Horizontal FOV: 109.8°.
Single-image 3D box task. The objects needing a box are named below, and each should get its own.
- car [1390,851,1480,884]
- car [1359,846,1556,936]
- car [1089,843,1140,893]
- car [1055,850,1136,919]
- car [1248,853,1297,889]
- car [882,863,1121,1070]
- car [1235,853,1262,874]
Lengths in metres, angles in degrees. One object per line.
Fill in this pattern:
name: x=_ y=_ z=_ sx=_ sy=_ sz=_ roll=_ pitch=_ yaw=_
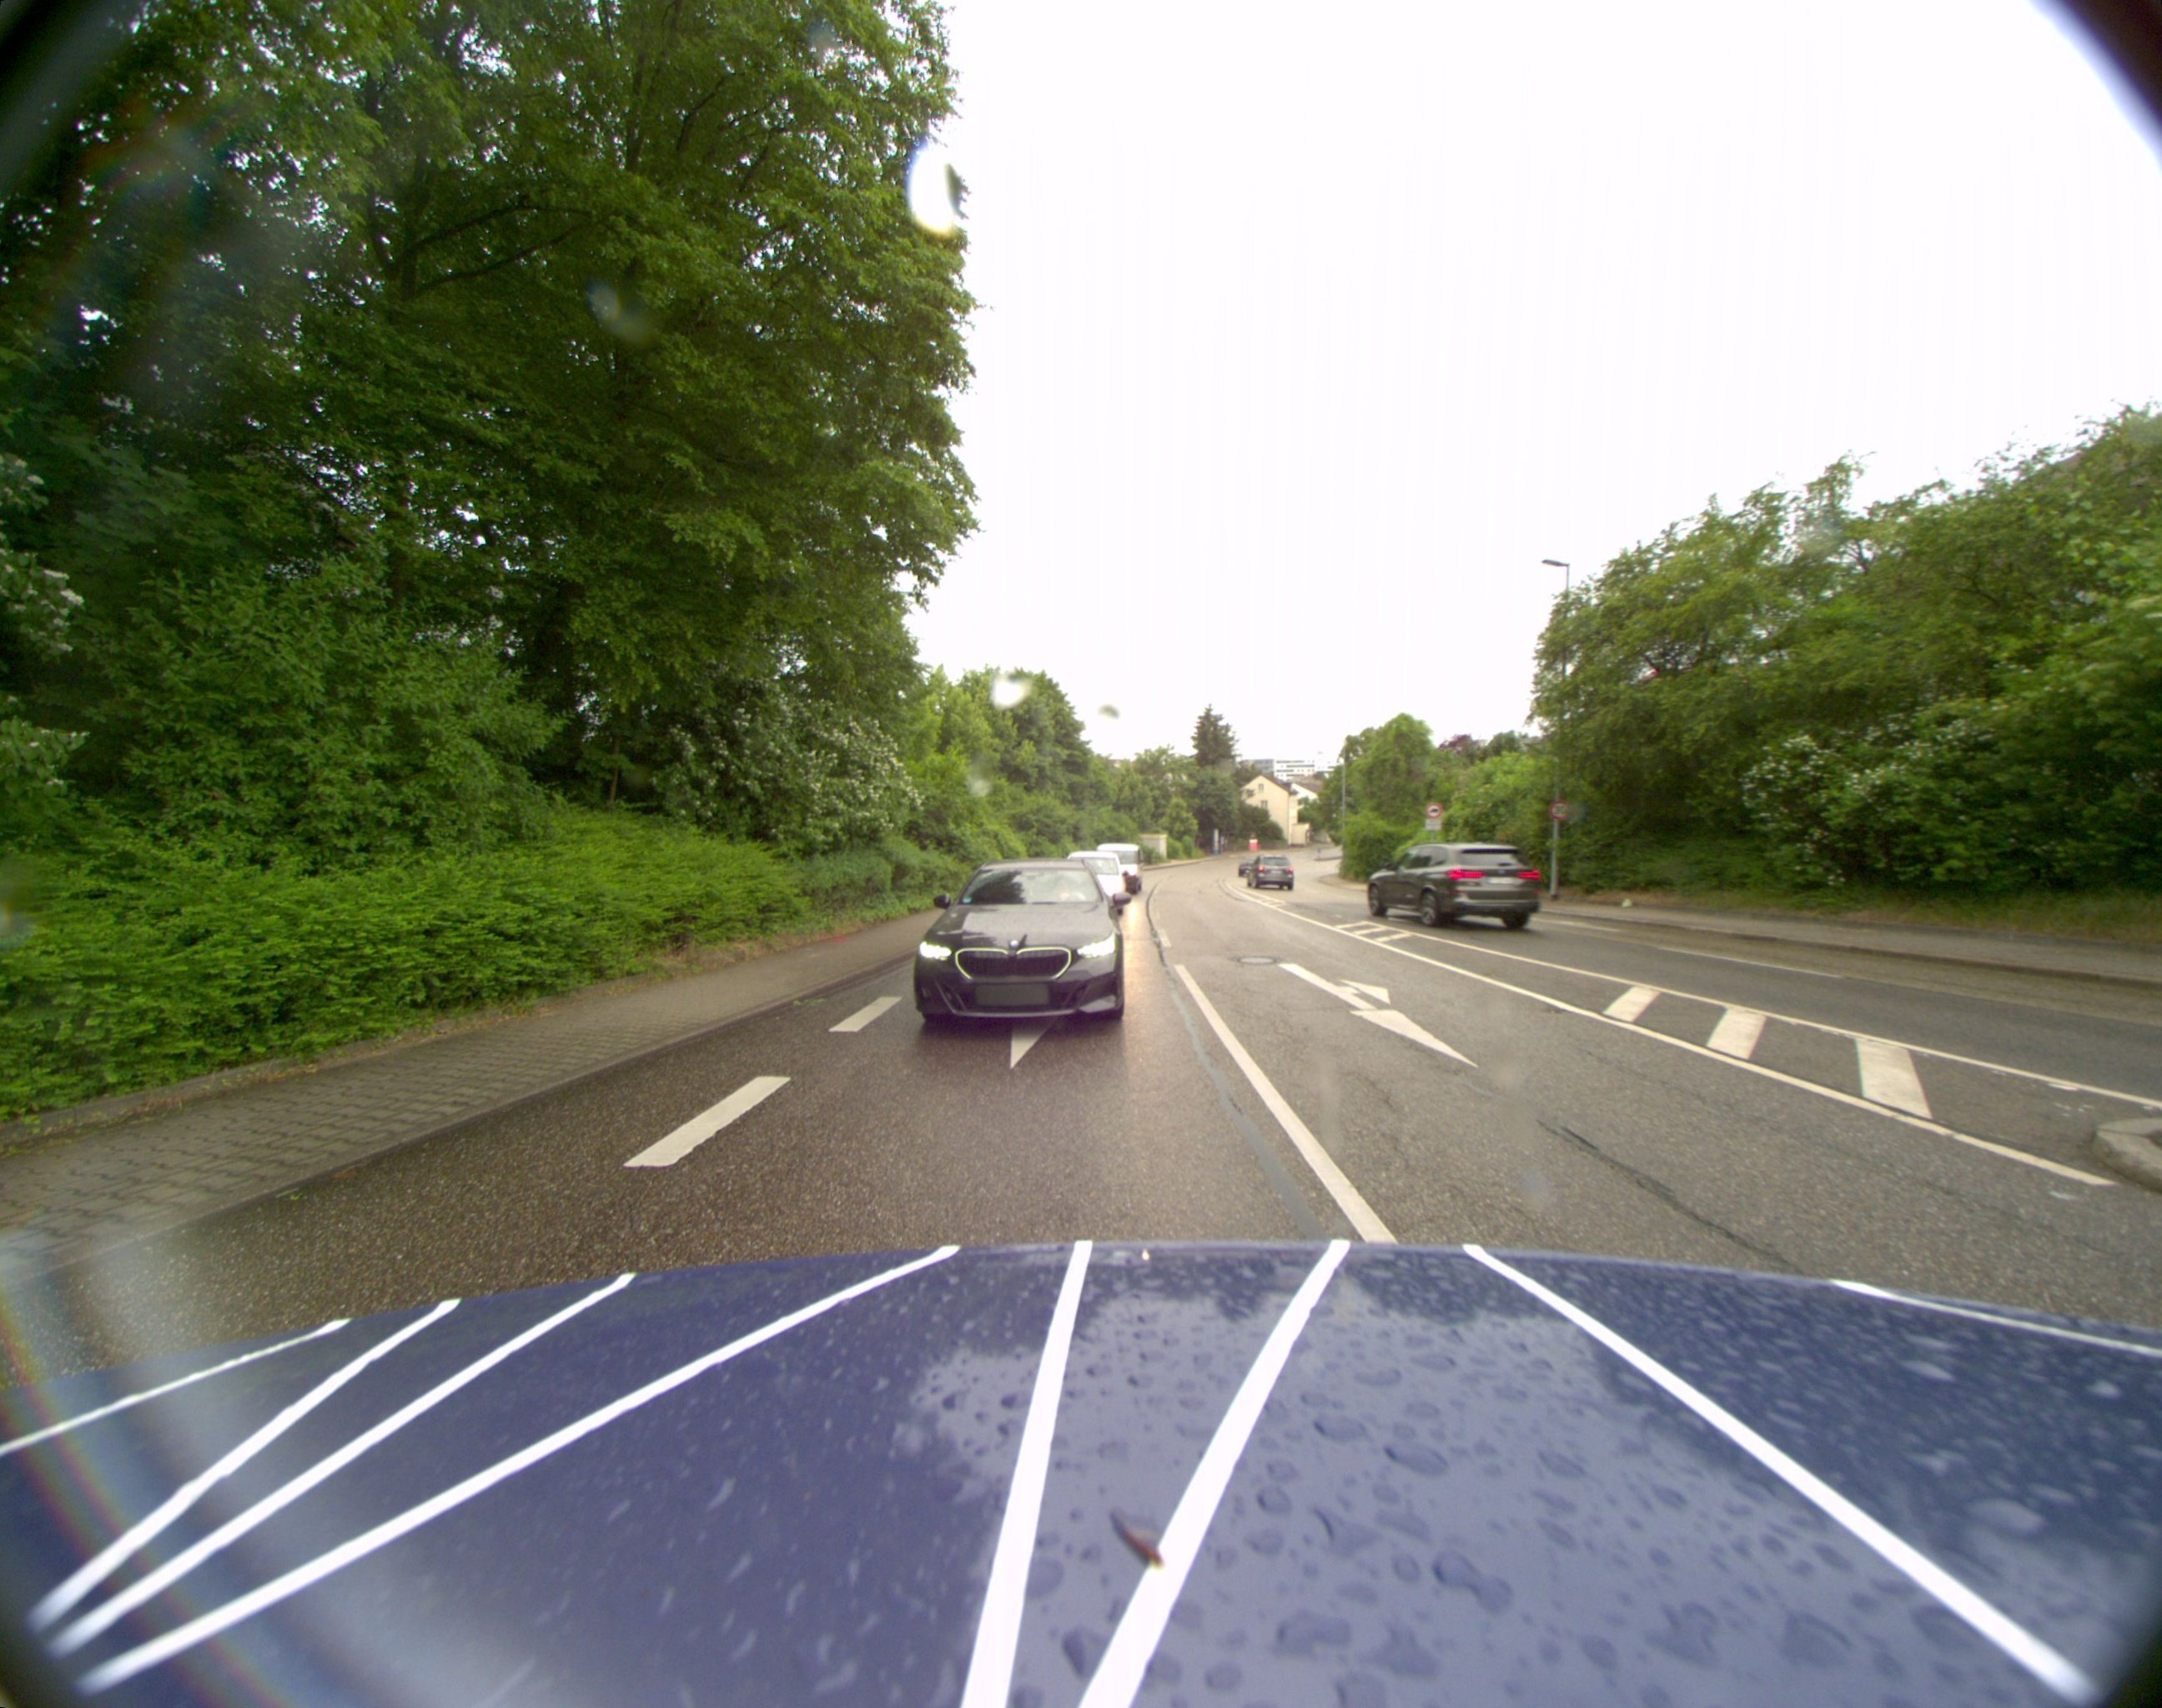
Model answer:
car: x=19.441 y=0.737 z=41.868 sx=3.995 sy=1.527 sz=2.001 roll=-4 pitch=0 yaw=8
car: x=8.032 y=0.694 z=16.846 sx=1.999 sy=1.707 sz=4.717 roll=0 pitch=0 yaw=0
car: x=1.325 y=0.486 z=28.938 sx=1.777 sy=1.764 sz=4.001 roll=0 pitch=0 yaw=4
car: x=0.348 y=0.709 z=19.702 sx=1.818 sy=1.431 sz=3.999 roll=3 pitch=2 yaw=0
car: x=9.020 y=0.740 z=36.014 sx=1.746 sy=1.593 sz=4.034 roll=1 pitch=0 yaw=7
car: x=-0.536 y=0.915 z=8.137 sx=1.872 sy=1.497 sz=4.198 roll=1 pitch=1 yaw=3
car: x=12.471 y=0.692 z=56.867 sx=1.898 sy=1.500 sz=4.003 roll=1 pitch=0 yaw=11
